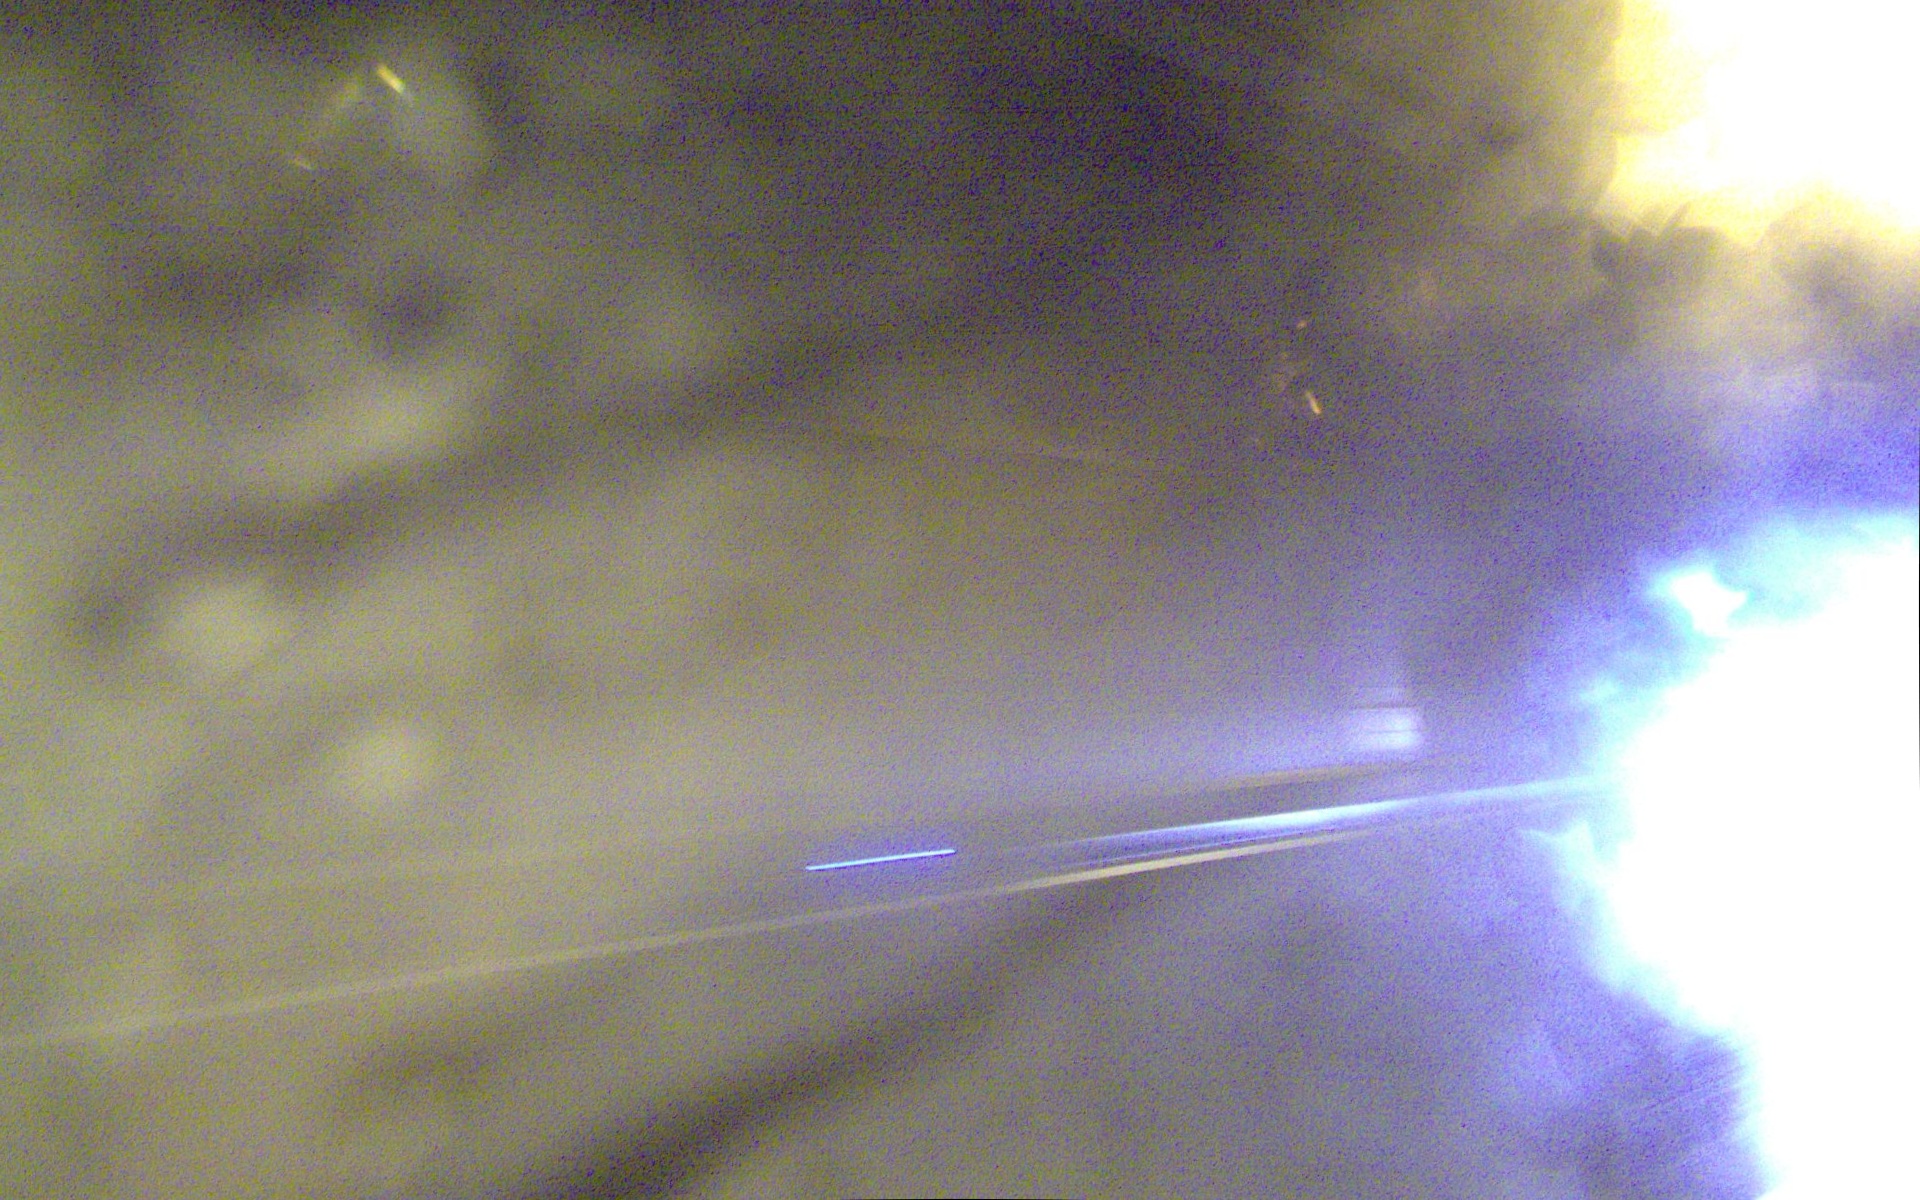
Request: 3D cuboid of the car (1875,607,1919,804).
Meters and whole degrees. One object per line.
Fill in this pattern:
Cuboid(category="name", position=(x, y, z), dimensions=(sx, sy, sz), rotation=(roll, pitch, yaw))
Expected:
Cuboid(category="car", position=(9.929, 0.923, 8.913), dimensions=(3.949, 1.635, 1.591), rotation=(1, -1, -31))
